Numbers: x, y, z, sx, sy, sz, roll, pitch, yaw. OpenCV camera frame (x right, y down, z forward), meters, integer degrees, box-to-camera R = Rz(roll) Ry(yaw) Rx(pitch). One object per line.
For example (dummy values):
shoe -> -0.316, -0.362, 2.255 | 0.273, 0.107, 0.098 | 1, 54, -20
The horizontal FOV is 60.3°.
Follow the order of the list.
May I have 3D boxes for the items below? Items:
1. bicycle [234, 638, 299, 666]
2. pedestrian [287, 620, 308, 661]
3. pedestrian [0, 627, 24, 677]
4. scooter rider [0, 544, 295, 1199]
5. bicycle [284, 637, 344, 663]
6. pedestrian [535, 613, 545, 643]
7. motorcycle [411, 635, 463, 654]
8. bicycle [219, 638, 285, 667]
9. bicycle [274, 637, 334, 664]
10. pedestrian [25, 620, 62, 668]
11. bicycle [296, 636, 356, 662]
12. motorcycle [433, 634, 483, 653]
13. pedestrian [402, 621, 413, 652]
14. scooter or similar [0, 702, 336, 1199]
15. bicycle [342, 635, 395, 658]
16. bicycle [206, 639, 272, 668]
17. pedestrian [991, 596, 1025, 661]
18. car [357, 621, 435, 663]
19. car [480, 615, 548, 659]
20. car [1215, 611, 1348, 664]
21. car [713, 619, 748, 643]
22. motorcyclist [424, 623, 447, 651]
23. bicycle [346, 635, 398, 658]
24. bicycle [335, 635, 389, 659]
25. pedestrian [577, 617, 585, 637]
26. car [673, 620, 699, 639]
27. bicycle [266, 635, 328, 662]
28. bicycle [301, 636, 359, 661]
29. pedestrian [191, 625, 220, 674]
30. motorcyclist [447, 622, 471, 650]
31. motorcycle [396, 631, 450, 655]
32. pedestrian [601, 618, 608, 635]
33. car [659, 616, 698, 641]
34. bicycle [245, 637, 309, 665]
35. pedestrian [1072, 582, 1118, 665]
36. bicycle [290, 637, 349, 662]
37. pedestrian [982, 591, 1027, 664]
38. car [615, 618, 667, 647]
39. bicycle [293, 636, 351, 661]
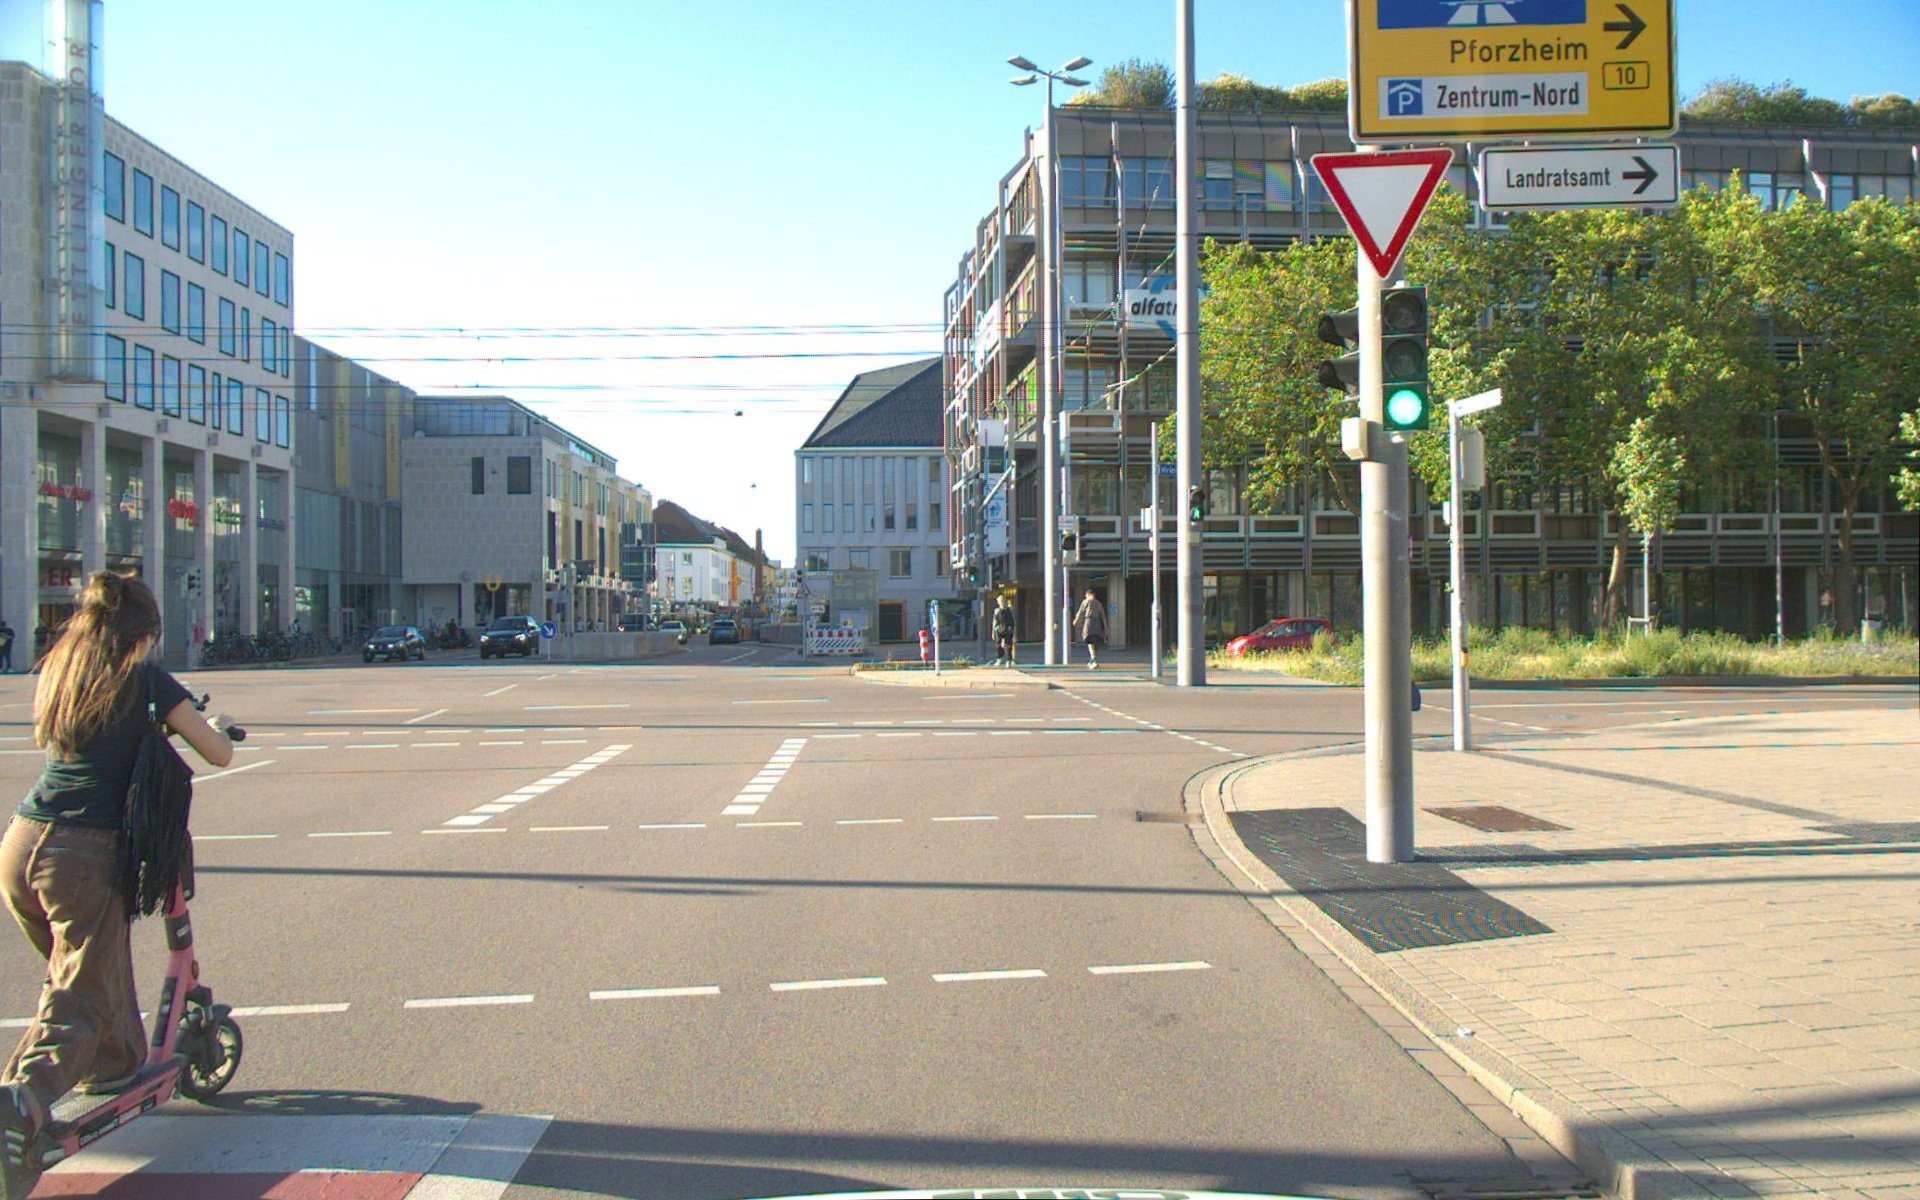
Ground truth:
bicycle -> -29.072, 2.179, 69.370 | 2.416, 1.130, 0.684 | -1, -1, 2
pedestrian -> -32.893, 2.002, 82.082 | 0.933, 2.017, 1.000 | 0, -1, -25
pedestrian -> -32.761, 1.774, 56.684 | 0.933, 1.680, 1.000 | -1, -1, 45
scooter rider -> -2.215, 0.664, 4.203 | 0.629, 1.571, 1.116 | 1, -1, -4
bicycle -> -29.182, 2.254, 74.753 | 2.417, 1.130, 0.684 | -1, -1, 0
pedestrian -> -29.084, 1.942, 114.479 | 0.606, 2.049, 0.476 | 1, -1, -15
motorcycle -> -29.220, 2.476, 92.442 | 2.617, 1.013, 0.915 | 1, -1, -8
bicycle -> -29.101, 2.158, 68.005 | 2.417, 1.130, 0.684 | -1, -1, 0
bicycle -> -29.160, 2.237, 73.527 | 2.417, 1.130, 0.593 | -1, -1, 0
pedestrian -> -30.923, 1.473, 55.811 | 0.938, 1.599, 0.828 | 1, -1, -43
bicycle -> -29.278, 2.266, 76.369 | 2.417, 1.130, 0.835 | -1, -1, 0
motorcycle -> -29.074, 2.525, 95.891 | 2.617, 1.013, 0.915 | 1, -1, -8
pedestrian -> -37.173, 2.440, 111.317 | 0.606, 2.049, 0.476 | 1, -1, -15
scooter or similar -> -2.222, 0.909, 4.386 | 0.629, 1.196, 1.482 | 1, -1, -3
bicycle -> -29.838, 2.359, 83.427 | 2.417, 1.130, 0.660 | -1, -1, 0
bicycle -> -29.063, 2.159, 66.659 | 2.353, 1.132, 0.658 | -1, -1, -1
pedestrian -> 1.459, 0.872, 50.258 | 0.991, 1.944, 1.050 | 0, -1, 0
car -> -23.197, 1.708, 68.190 | 1.899, 1.608, 4.292 | -1, 0, -2
car -> -17.950, 1.482, 66.767 | 1.900, 1.707, 4.289 | -1, -1, -5
car -> 10.162, 1.199, 52.394 | 3.790, 1.512, 1.845 | -1, -4, -3
car -> -14.762, 1.999, 106.612 | 1.898, 1.475, 4.258 | 0, -1, -4
motorcyclist -> -29.293, 2.069, 92.427 | 1.016, 1.497, 0.915 | 1, -1, -8
bicycle -> -29.921, 2.376, 84.135 | 2.417, 1.130, 0.631 | -1, -1, 0
bicycle -> -29.900, 2.343, 82.703 | 2.417, 1.130, 0.660 | -1, -1, 0
pedestrian -> -27.668, 1.971, 120.848 | 0.479, 1.380, 0.563 | 1, -1, -6
car -> -28.076, 3.012, 169.475 | 2.131, 1.906, 5.609 | 0, -1, -4
bicycle -> -28.858, 2.104, 71.973 | 2.417, 1.130, 0.684 | -1, -1, 0
bicycle -> -29.906, 2.291, 78.550 | 2.417, 1.130, 0.835 | -1, -1, 0
pedestrian -> -27.414, 1.786, 60.090 | 0.736, 1.770, 0.756 | 0, -1, -3
motorcyclist -> -29.045, 2.092, 95.914 | 1.115, 1.602, 0.915 | 1, -1, -8
motorcycle -> -29.241, 2.331, 90.079 | 2.617, 1.239, 0.915 | 1, -1, -8
pedestrian -> -27.892, 2.087, 129.798 | 0.479, 1.380, 0.563 | 1, -1, -6
car -> -20.310, 2.073, 119.480 | 2.131, 1.722, 5.611 | 0, -1, -3
bicycle -> -28.988, 2.175, 70.180 | 2.417, 1.130, 0.684 | -1, -1, 0
pedestrian -> 2.916, 0.507, 35.815 | 0.839, 1.774, 0.738 | -1, 0, -9
bicycle -> -29.253, 2.256, 75.528 | 2.417, 1.130, 0.684 | -1, -1, 0
pedestrian -> 0.986, 0.597, 36.857 | 0.878, 1.576, 0.922 | 0, 1, -7
car -> -19.206, 1.973, 99.759 | 2.130, 1.722, 5.485 | 0, -1, -1
bicycle -> -29.801, 2.276, 77.300 | 2.417, 1.130, 0.684 | -1, -1, 0
